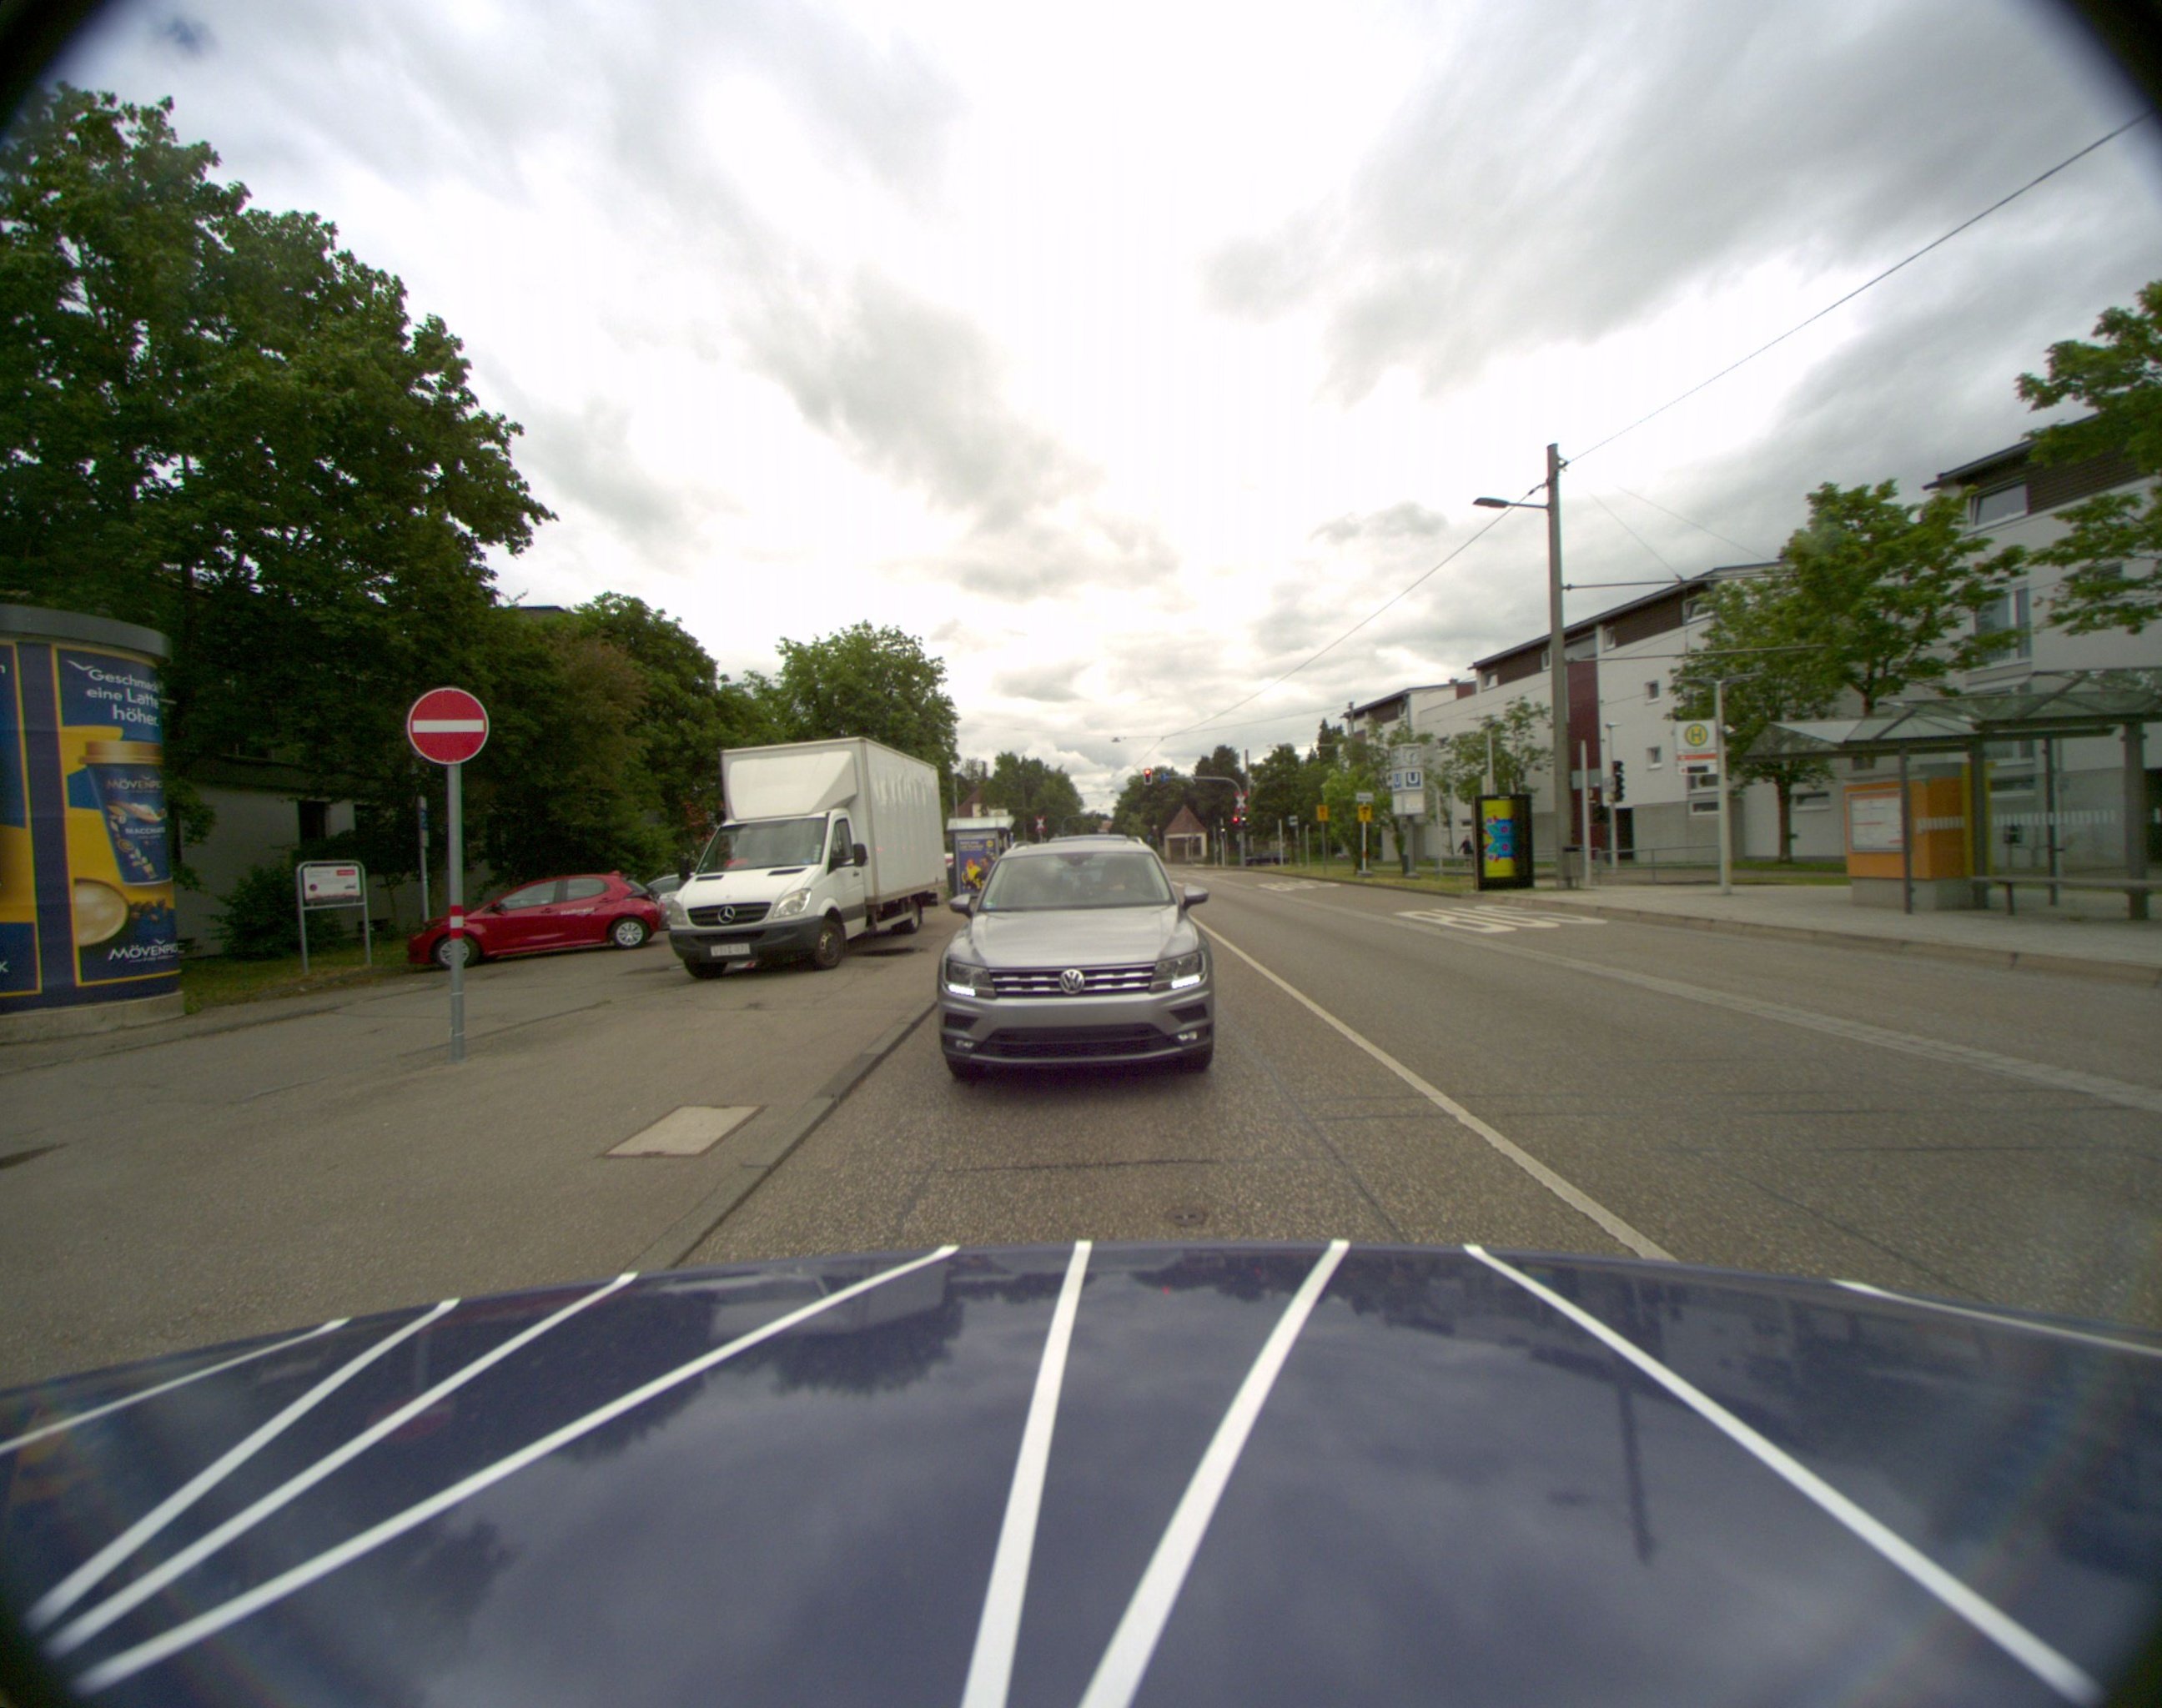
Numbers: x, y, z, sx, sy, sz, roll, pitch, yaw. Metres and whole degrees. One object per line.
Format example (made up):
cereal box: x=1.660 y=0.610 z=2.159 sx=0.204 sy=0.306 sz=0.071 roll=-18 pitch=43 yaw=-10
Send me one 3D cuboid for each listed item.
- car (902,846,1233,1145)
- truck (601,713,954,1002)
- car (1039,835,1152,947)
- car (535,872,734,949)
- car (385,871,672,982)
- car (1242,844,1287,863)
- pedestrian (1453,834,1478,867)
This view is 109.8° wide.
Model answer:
car: x=-0.026 y=0.788 z=6.485 sx=1.811 sy=1.638 sz=4.330 roll=-3 pitch=1 yaw=1
truck: x=-4.340 y=-0.021 z=13.123 sx=2.541 sy=3.407 sz=7.775 roll=-3 pitch=1 yaw=2
car: x=0.299 y=0.611 z=14.960 sx=1.849 sy=1.850 sz=4.000 roll=-2 pitch=1 yaw=1
car: x=-10.918 y=1.314 z=18.802 sx=4.005 sy=1.402 sz=1.521 roll=-5 pitch=2 yaw=-31
car: x=-9.888 y=1.224 z=14.007 sx=3.901 sy=1.475 sz=1.680 roll=-5 pitch=2 yaw=-24
car: x=18.334 y=-0.066 z=76.098 sx=3.998 sy=1.696 sz=1.928 roll=-3 pitch=1 yaw=-2
pedestrian: x=19.270 y=-0.172 z=38.118 sx=0.782 sy=1.586 sz=0.780 roll=-3 pitch=1 yaw=-8
